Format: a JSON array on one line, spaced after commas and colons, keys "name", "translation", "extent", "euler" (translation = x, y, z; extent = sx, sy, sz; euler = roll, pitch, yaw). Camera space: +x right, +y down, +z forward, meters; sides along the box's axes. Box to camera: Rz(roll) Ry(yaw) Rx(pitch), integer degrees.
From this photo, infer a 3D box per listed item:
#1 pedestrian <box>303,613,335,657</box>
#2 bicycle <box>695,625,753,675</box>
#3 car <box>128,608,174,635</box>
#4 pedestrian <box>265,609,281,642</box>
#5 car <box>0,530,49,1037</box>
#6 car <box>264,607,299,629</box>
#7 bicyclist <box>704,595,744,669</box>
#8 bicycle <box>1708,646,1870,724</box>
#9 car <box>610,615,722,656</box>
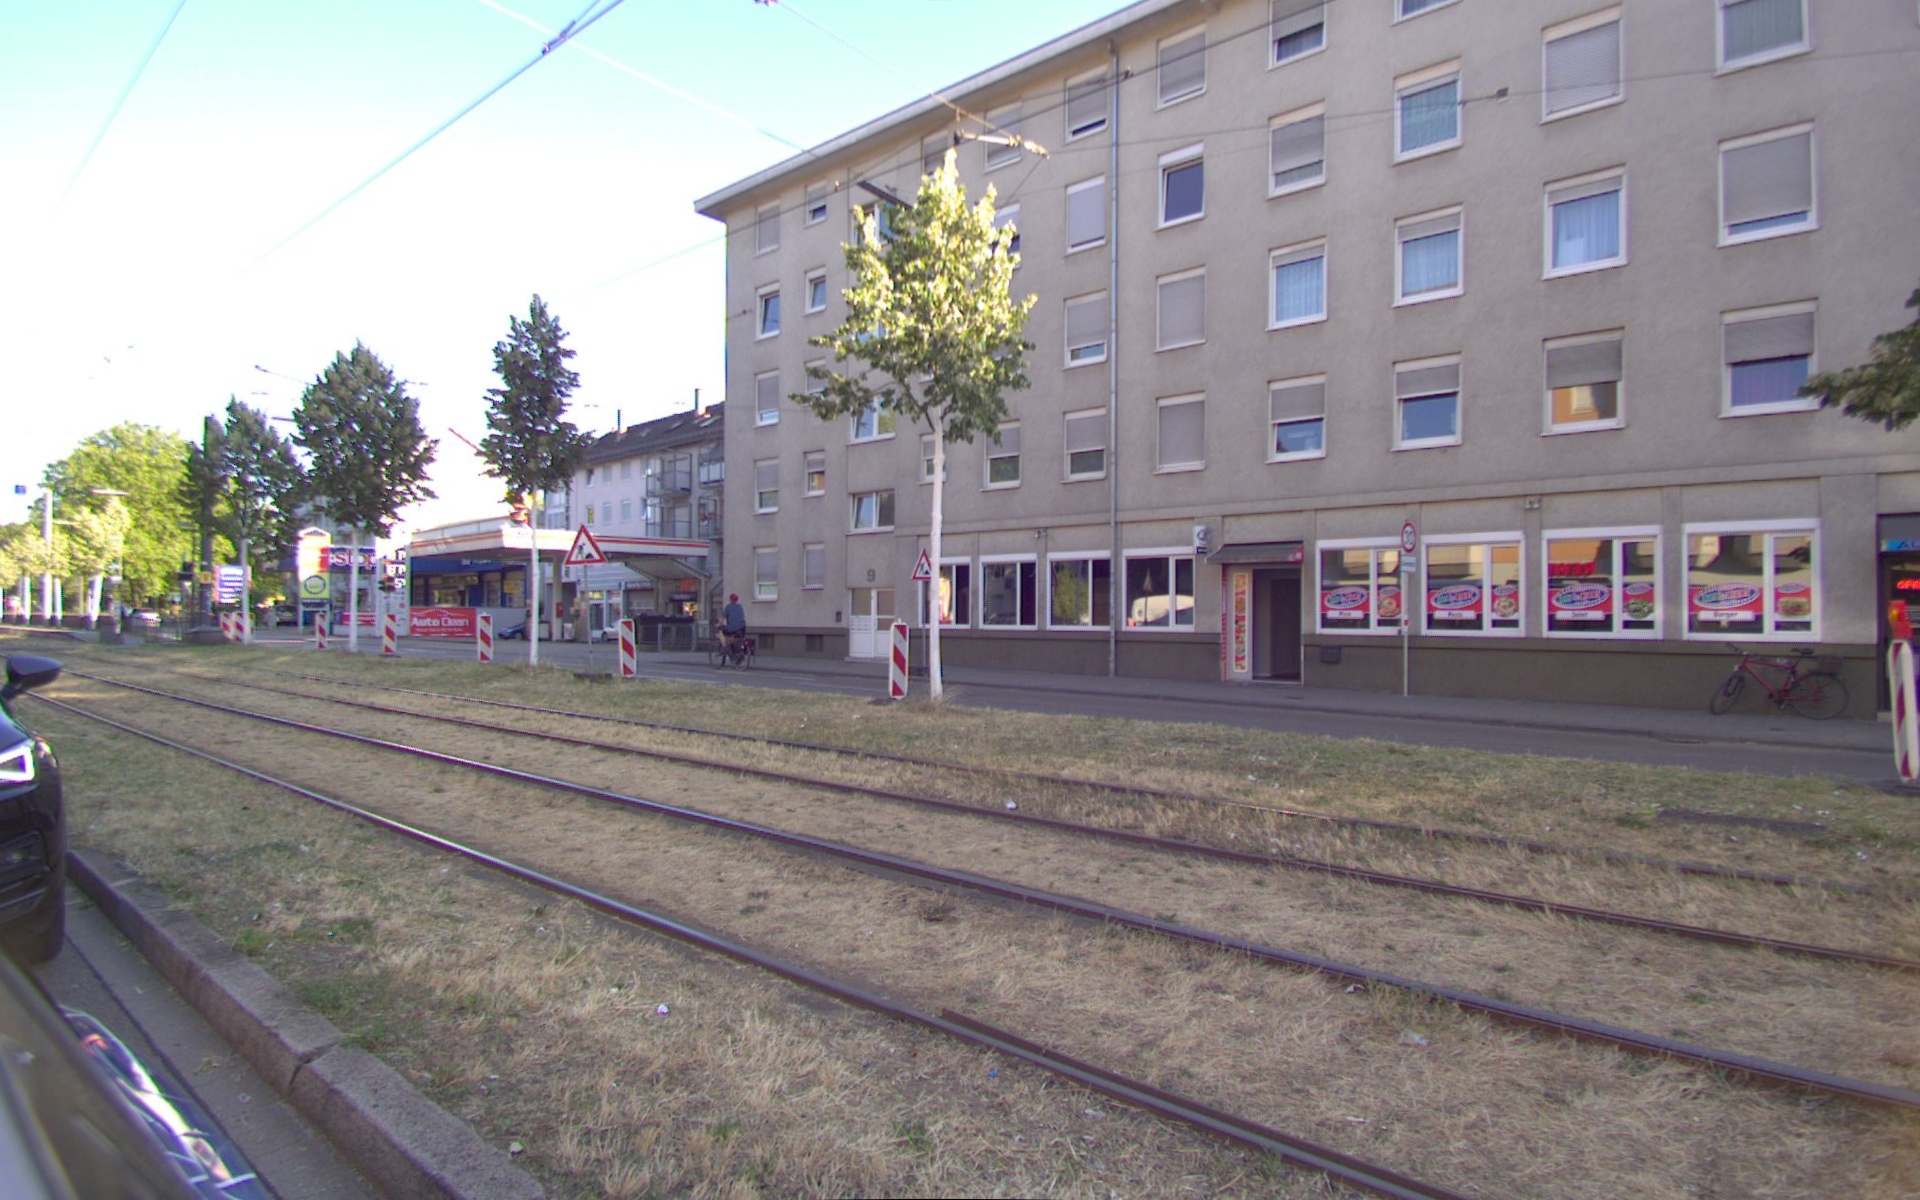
[{"name": "pedestrian", "translation": [-18.740, 1.015, 29.573], "extent": [0.581, 1.280, 0.655], "euler": [-2, -1, 42]}, {"name": "bicycle", "translation": [-6.183, 1.284, 26.464], "extent": [1.869, 1.267, 0.450], "euler": [-2, -2, 40]}, {"name": "car", "translation": [-54.561, 1.433, 68.229], "extent": [1.970, 1.748, 4.396], "euler": [0, 0, -44]}, {"name": "pedestrian", "translation": [-42.191, 1.565, 62.178], "extent": [0.583, 2.029, 0.623], "euler": [-1, 1, 42]}, {"name": "car", "translation": [-5.193, 0.632, 4.118], "extent": [3.998, 1.690, 1.752], "euler": [-1, 0, 41]}, {"name": "car", "translation": [-50.419, 1.322, 75.179], "extent": [1.756, 1.567, 4.007], "euler": [0, 1, -40]}, {"name": "bicyclist", "translation": [-6.172, 0.835, 26.469], "extent": [0.808, 1.897, 0.644], "euler": [-1, -3, 41]}, {"name": "bicycle", "translation": [12.352, 1.238, 15.124], "extent": [1.844, 1.031, 0.601], "euler": [0, 0, 41]}, {"name": "car", "translation": [-11.146, 1.361, 38.533], "extent": [1.906, 1.481, 3.680], "euler": [-3, -3, 40]}]
